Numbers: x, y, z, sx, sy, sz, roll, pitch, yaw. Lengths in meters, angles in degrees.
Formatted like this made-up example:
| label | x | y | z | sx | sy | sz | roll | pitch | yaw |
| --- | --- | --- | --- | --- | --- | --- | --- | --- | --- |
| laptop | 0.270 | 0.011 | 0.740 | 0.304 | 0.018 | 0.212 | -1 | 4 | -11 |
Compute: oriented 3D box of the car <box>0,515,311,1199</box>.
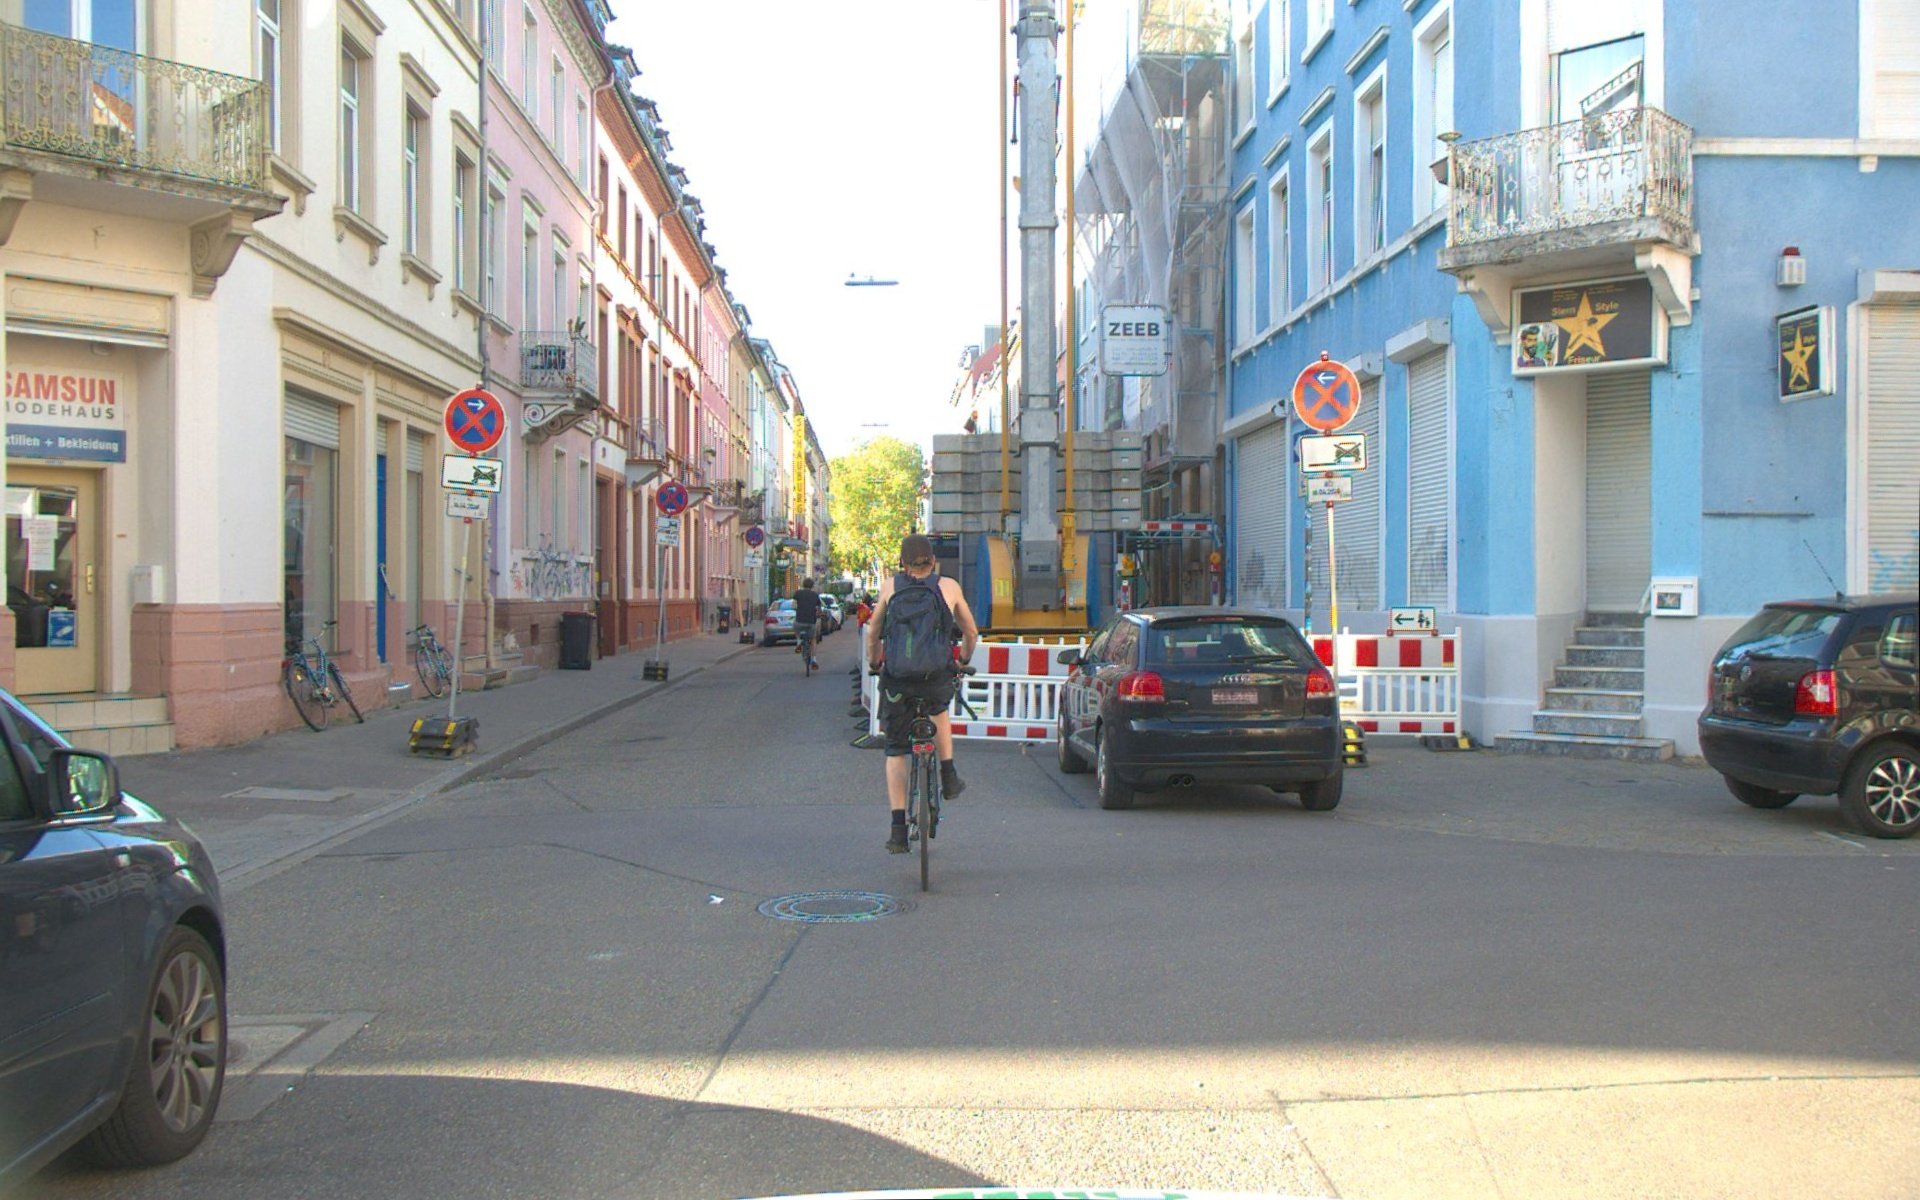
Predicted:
| label | x | y | z | sx | sy | sz | roll | pitch | yaw |
| --- | --- | --- | --- | --- | --- | --- | --- | --- | --- |
| car | -2.649 | 0.681 | 2.812 | 1.688 | 1.633 | 4.162 | -2 | 1 | -5 |

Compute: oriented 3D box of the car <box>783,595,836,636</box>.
| label | x | y | z | sx | sy | sz | roll | pitch | yaw |
| --- | --- | --- | --- | --- | --- | --- | --- | --- | --- |
| car | -5.681 | 0.564 | 62.763 | 1.676 | 1.407 | 4.355 | 0 | 1 | -1 |

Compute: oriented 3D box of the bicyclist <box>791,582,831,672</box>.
| label | x | y | z | sx | sy | sz | roll | pitch | yaw |
| --- | --- | --- | --- | --- | --- | --- | --- | --- | --- |
| bicyclist | -2.781 | 0.497 | 30.907 | 0.688 | 1.633 | 0.812 | -1 | 1 | -4 |

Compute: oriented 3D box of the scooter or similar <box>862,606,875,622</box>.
| label | x | y | z | sx | sy | sz | roll | pitch | yaw |
| --- | --- | --- | --- | --- | --- | --- | --- | --- | --- |
| scooter or similar | -5.355 | 0.809 | 96.743 | 0.755 | 0.888 | 0.770 | 1 | 0 | -4 |

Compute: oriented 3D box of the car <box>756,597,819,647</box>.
| label | x | y | z | sx | sy | sz | roll | pitch | yaw |
| --- | --- | --- | --- | --- | --- | --- | --- | --- | --- |
| car | -5.356 | 0.667 | 51.750 | 1.676 | 1.407 | 4.503 | -2 | 0 | -3 |

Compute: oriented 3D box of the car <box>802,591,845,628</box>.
| label | x | y | z | sx | sy | sz | roll | pitch | yaw |
| --- | --- | --- | --- | --- | --- | --- | --- | --- | --- |
| car | -5.701 | 0.396 | 69.408 | 1.639 | 1.467 | 4.163 | -2 | 0 | -3 |

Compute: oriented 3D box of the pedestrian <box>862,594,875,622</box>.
| label | x | y | z | sx | sy | sz | roll | pitch | yaw |
| --- | --- | --- | --- | --- | --- | --- | --- | --- | --- |
| pedestrian | -5.384 | 0.460 | 97.198 | 0.755 | 1.606 | 0.899 | 1 | 0 | -4 |

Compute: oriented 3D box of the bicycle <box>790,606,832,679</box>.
| label | x | y | z | sx | sy | sz | roll | pitch | yaw |
| --- | --- | --- | --- | --- | --- | --- | --- | --- | --- |
| bicycle | -2.781 | 0.775 | 31.096 | 0.688 | 1.229 | 2.341 | -1 | 1 | -3 |

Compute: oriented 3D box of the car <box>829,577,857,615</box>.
| label | x | y | z | sx | sy | sz | roll | pitch | yaw |
| --- | --- | --- | --- | --- | --- | --- | --- | --- | --- |
| car | -8.244 | -0.297 | 116.704 | 1.872 | 2.540 | 4.161 | -1 | 0 | -5 |

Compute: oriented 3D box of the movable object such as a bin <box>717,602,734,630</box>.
| label | x | y | z | sx | sy | sz | roll | pitch | yaw |
| --- | --- | --- | --- | --- | --- | --- | --- | --- | --- |
| movable object such as a bin | -8.176 | 0.569 | 57.707 | 0.532 | 0.961 | 0.487 | 1 | 0 | -2 |

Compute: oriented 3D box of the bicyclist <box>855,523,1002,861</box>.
| label | x | y | z | sx | sy | sz | roll | pitch | yaw |
| --- | --- | --- | --- | --- | --- | --- | --- | --- | --- |
| bicyclist | -0.183 | 0.456 | 8.782 | 0.688 | 1.662 | 1.089 | -2 | 0 | -3 |

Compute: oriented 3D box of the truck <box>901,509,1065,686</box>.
| label | x | y | z | sx | sy | sz | roll | pitch | yaw |
| --- | --- | --- | --- | --- | --- | --- | --- | --- | --- |
| truck | 0.246 | -0.027 | 30.799 | 2.608 | 2.863 | 7.389 | 1 | 0 | -3 |

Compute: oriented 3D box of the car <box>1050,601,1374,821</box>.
| label | x | y | z | sx | sy | sz | roll | pitch | yaw |
| --- | --- | --- | --- | --- | --- | --- | --- | --- | --- |
| car | 1.815 | 0.753 | 13.152 | 1.736 | 1.459 | 4.031 | 1 | 0 | -3 |

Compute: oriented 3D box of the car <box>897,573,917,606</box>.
| label | x | y | z | sx | sy | sz | roll | pitch | yaw |
| --- | --- | --- | --- | --- | --- | --- | --- | --- | --- |
| car | -6.470 | -1.284 | 201.107 | 2.262 | 3.833 | 6.765 | -2 | 0 | -3 |

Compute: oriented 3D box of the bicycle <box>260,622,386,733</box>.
| label | x | y | z | sx | sy | sz | roll | pitch | yaw |
| --- | --- | --- | --- | --- | --- | --- | --- | --- | --- |
| bicycle | -6.505 | 0.768 | 16.974 | 0.591 | 1.040 | 1.817 | 4 | -1 | -2 |

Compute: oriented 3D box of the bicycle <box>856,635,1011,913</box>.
| label | x | y | z | sx | sy | sz | roll | pitch | yaw |
| --- | --- | --- | --- | --- | --- | --- | --- | --- | --- |
| bicycle | -0.177 | 0.832 | 8.878 | 0.688 | 1.229 | 2.341 | -2 | 0 | -3 |

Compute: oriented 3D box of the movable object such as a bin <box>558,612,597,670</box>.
| label | x | y | z | sx | sy | sz | roll | pitch | yaw |
| --- | --- | --- | --- | --- | --- | --- | --- | --- | --- |
| movable object such as a bin | -6.983 | 0.744 | 30.213 | 0.593 | 1.053 | 0.596 | 1 | 0 | -4 |

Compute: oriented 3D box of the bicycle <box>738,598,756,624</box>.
| label | x | y | z | sx | sy | sz | roll | pitch | yaw |
| --- | --- | --- | --- | --- | --- | --- | --- | --- | --- |
| bicycle | -9.125 | 0.472 | 70.817 | 0.580 | 1.108 | 2.078 | 1 | 0 | -3 |

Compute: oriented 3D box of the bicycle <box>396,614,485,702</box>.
| label | x | y | z | sx | sy | sz | roll | pitch | yaw |
| --- | --- | --- | --- | --- | --- | --- | --- | --- | --- |
| bicycle | -6.746 | 0.734 | 21.570 | 0.610 | 1.040 | 1.817 | 2 | 0 | -2 |

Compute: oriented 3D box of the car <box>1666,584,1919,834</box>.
| label | x | y | z | sx | sy | sz | roll | pitch | yaw |
| --- | --- | --- | --- | --- | --- | --- | --- | --- | --- |
| car | 6.824 | 0.645 | 10.731 | 3.790 | 1.479 | 1.676 | 0 | 0 | -3 |

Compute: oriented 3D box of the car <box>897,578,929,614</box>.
| label | x | y | z | sx | sy | sz | roll | pitch | yaw |
| --- | --- | --- | --- | --- | --- | --- | --- | --- | --- |
| car | -3.666 | -0.291 | 127.910 | 2.262 | 2.582 | 6.765 | -2 | 0 | -3 |

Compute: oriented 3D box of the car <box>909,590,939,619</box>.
| label | x | y | z | sx | sy | sz | roll | pitch | yaw |
| --- | --- | --- | --- | --- | --- | --- | --- | --- | --- |
| car | -2.113 | 0.260 | 95.930 | 1.588 | 1.577 | 3.997 | -2 | 0 | -3 |
